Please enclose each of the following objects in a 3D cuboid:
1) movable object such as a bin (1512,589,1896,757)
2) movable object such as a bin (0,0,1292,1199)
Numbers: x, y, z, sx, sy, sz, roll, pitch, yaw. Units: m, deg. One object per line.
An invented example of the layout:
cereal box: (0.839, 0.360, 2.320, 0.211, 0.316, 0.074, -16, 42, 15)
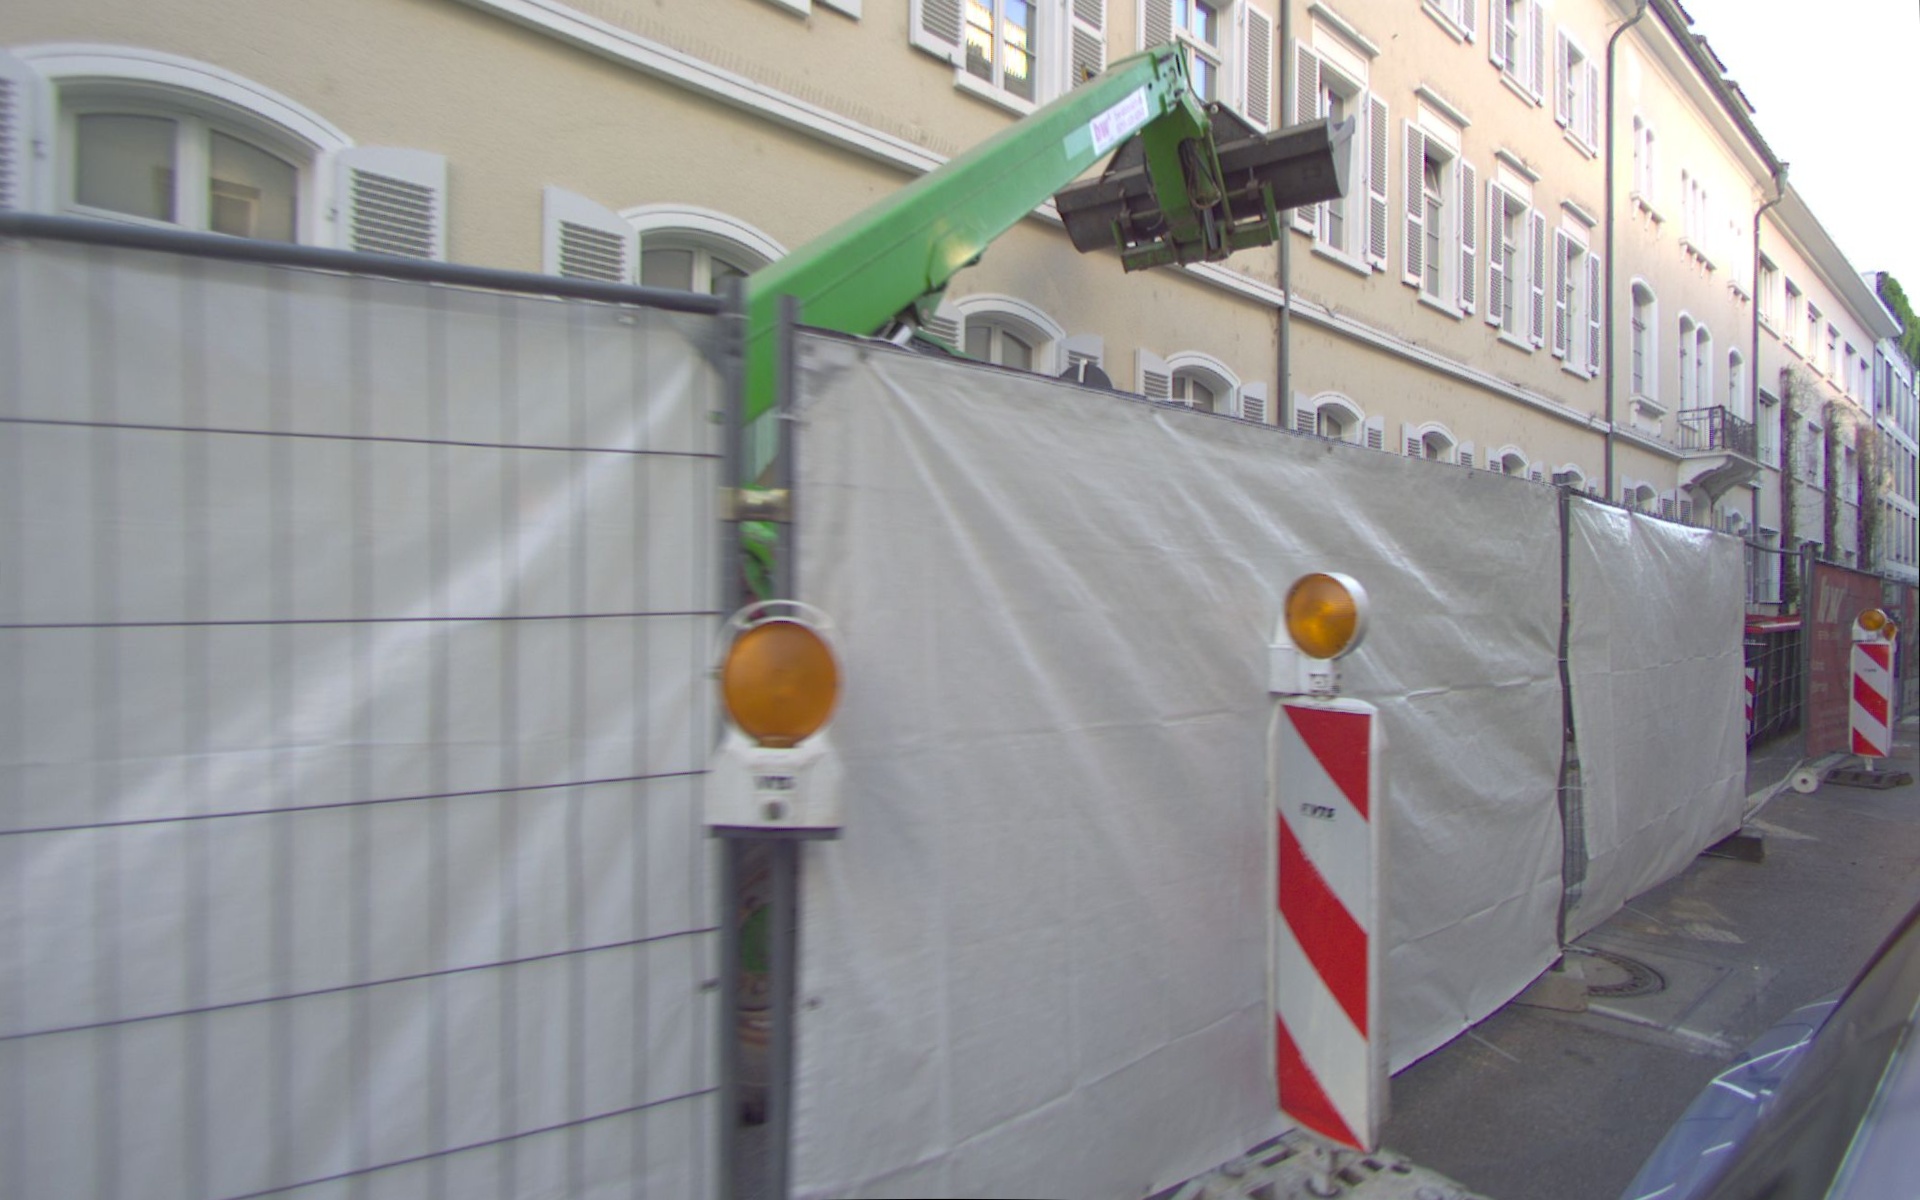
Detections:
movable object such as a bin: (10.425, 0.785, 13.839, 7.168, 1.686, 2.894, 1, 0, -42)
movable object such as a bin: (-1.435, 0.075, 3.554, 5.471, 2.909, 2.638, 1, 0, -43)
